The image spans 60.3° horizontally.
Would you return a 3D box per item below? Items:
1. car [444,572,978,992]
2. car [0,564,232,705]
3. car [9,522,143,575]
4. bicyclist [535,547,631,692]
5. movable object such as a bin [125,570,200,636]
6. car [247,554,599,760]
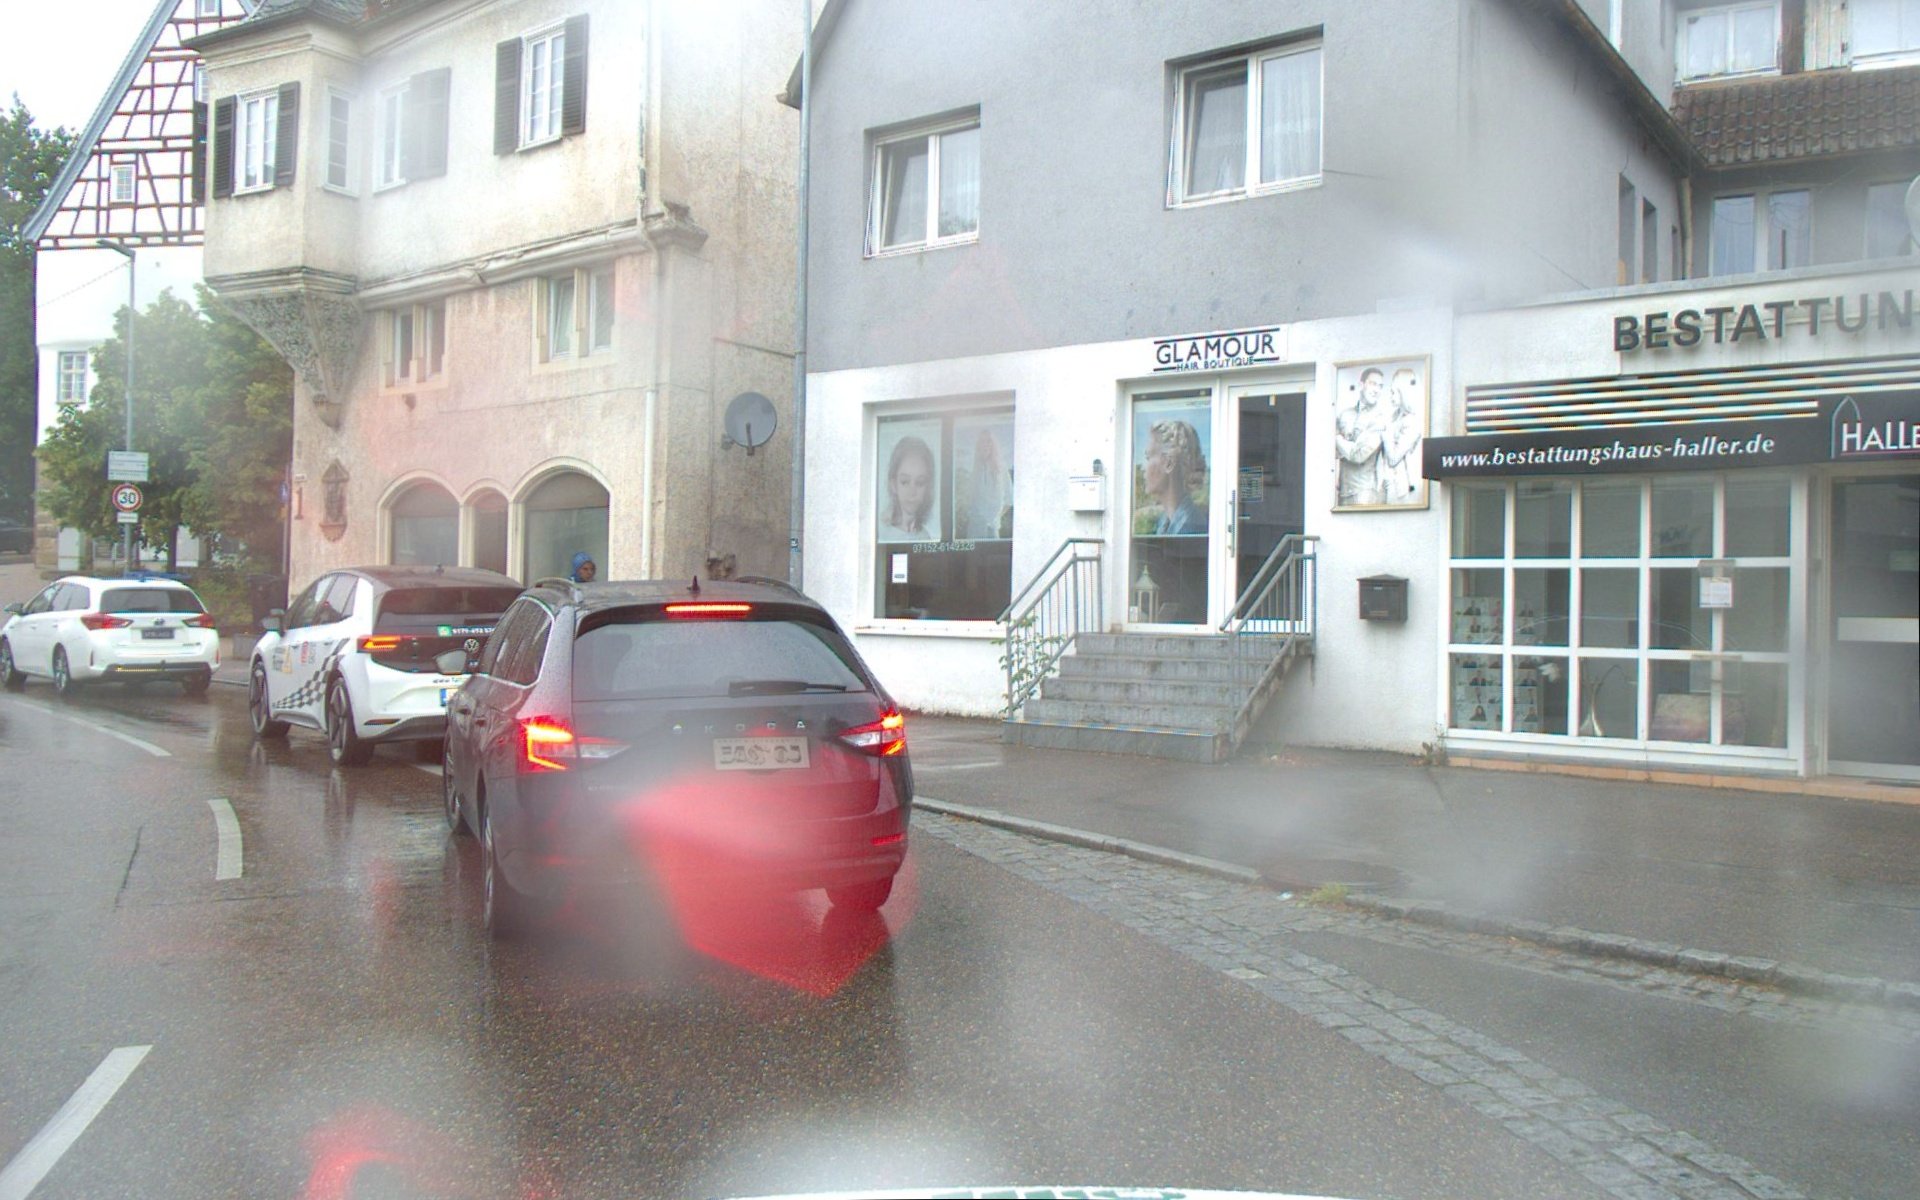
[{"bbox_3d":[-1.512,0.624,8.175,1.858,1.473,4.333,1,1,-19],"label":"car"},{"bbox_3d":[-11.172,0.375,21.593,1.874,1.624,4.261,1,1,-41],"label":"car"},{"bbox_3d":[-34.668,-2.007,64.964,1.953,1.914,4.377,2,1,22],"label":"car"},{"bbox_3d":[-4.184,0.197,18.319,0.678,1.544,1.017,1,1,-36],"label":"bicyclist"},{"bbox_3d":[-16.395,0.058,33.984,1.147,1.336,1.170,1,0,-39],"label":"movable object such as a bin"},{"bbox_3d":[-4.731,0.385,14.200,1.840,1.498,3.952,1,1,-34],"label":"car"}]
